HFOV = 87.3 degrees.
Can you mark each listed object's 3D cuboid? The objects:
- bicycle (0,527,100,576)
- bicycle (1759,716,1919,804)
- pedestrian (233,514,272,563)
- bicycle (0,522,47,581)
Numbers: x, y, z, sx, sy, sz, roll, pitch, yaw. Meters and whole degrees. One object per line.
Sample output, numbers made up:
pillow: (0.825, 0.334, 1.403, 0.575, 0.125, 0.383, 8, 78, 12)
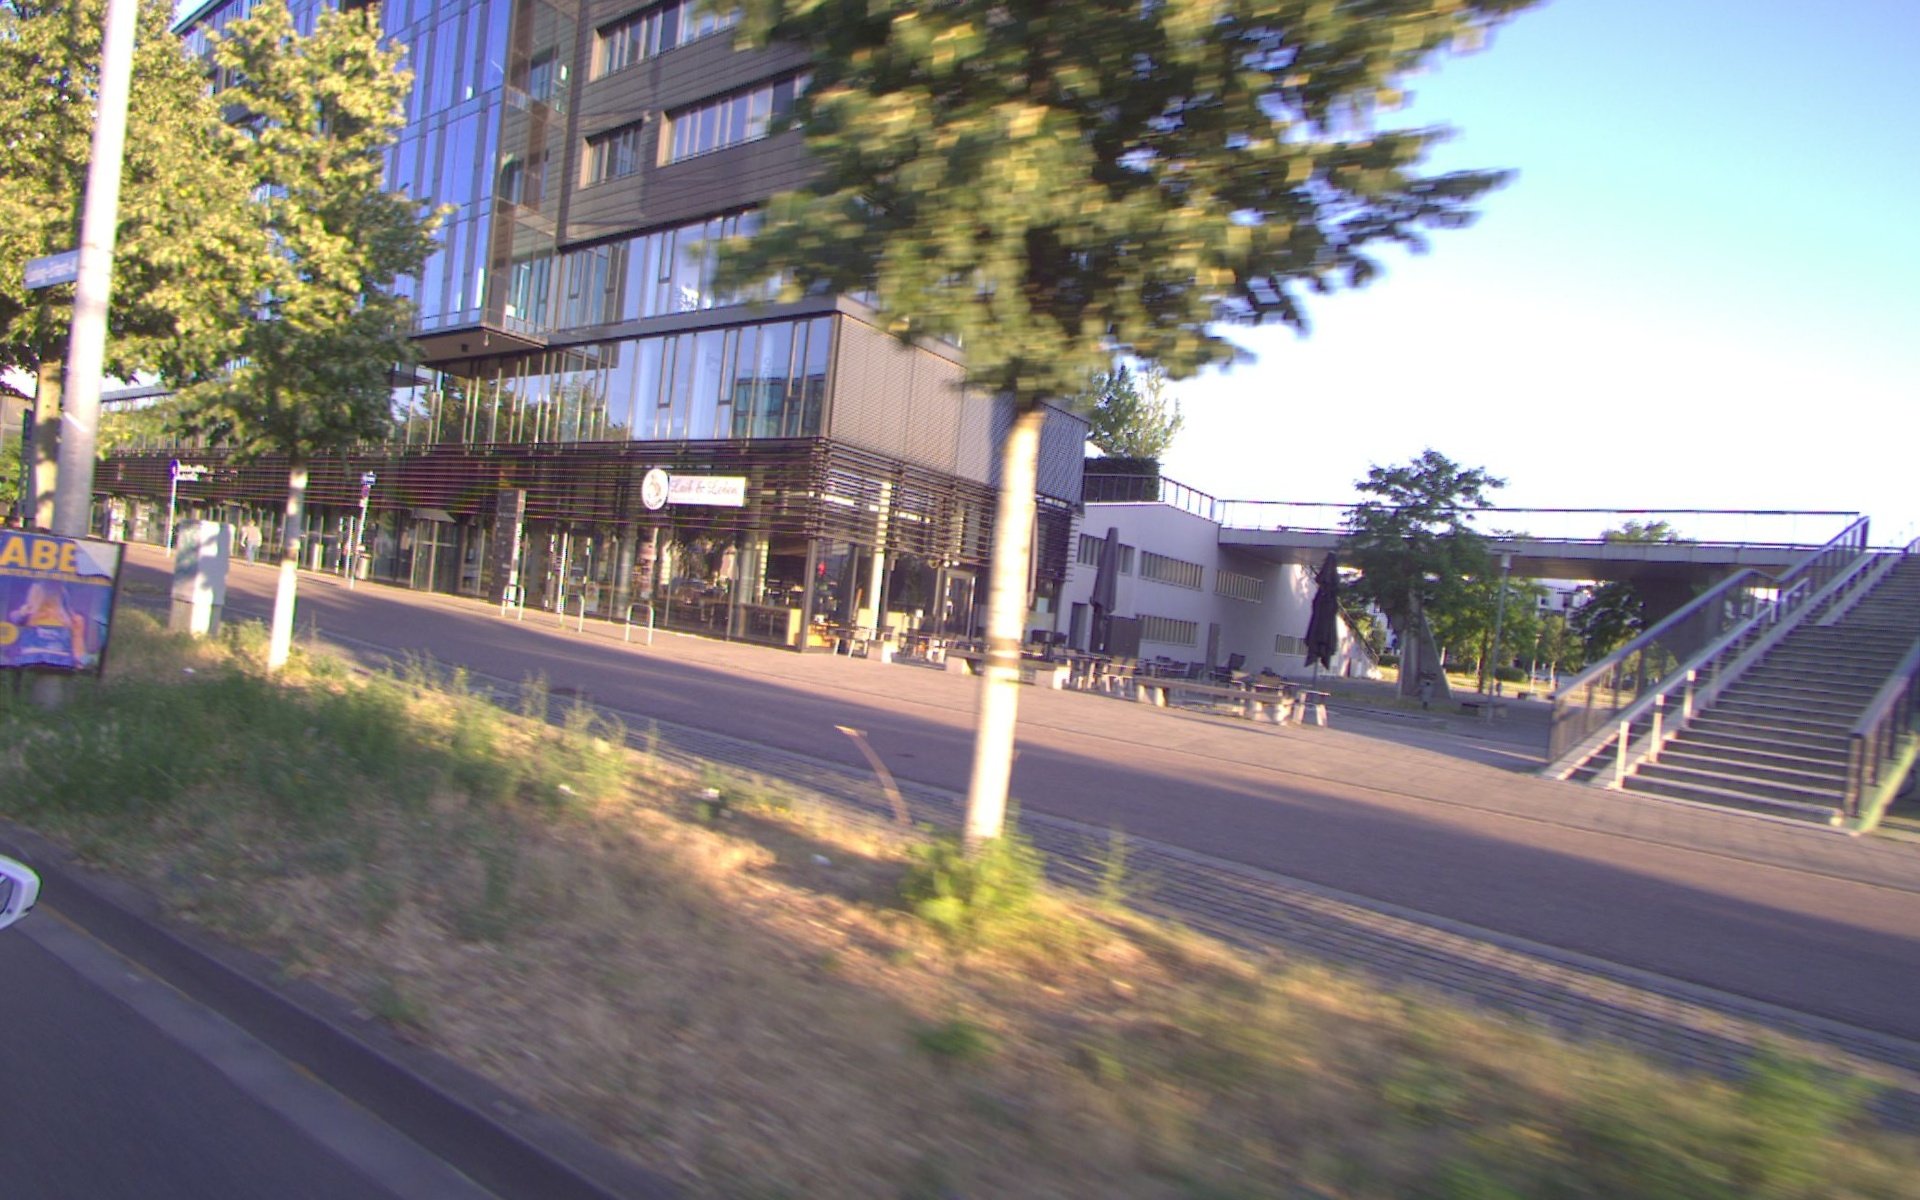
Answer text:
bicycle: (-21.208, -1.112, 23.447, 1.699, 0.921, 0.360, 7, 0, -21)
bicycle: (17.205, 3.075, 19.579, 0.728, 1.252, 2.420, 6, 0, -42)
pedestrian: (-28.249, -2.468, 40.175, 0.898, 1.819, 0.896, 6, 1, 35)
bicycle: (-18.296, -0.961, 19.313, 1.658, 1.007, 0.580, 6, 0, 29)
